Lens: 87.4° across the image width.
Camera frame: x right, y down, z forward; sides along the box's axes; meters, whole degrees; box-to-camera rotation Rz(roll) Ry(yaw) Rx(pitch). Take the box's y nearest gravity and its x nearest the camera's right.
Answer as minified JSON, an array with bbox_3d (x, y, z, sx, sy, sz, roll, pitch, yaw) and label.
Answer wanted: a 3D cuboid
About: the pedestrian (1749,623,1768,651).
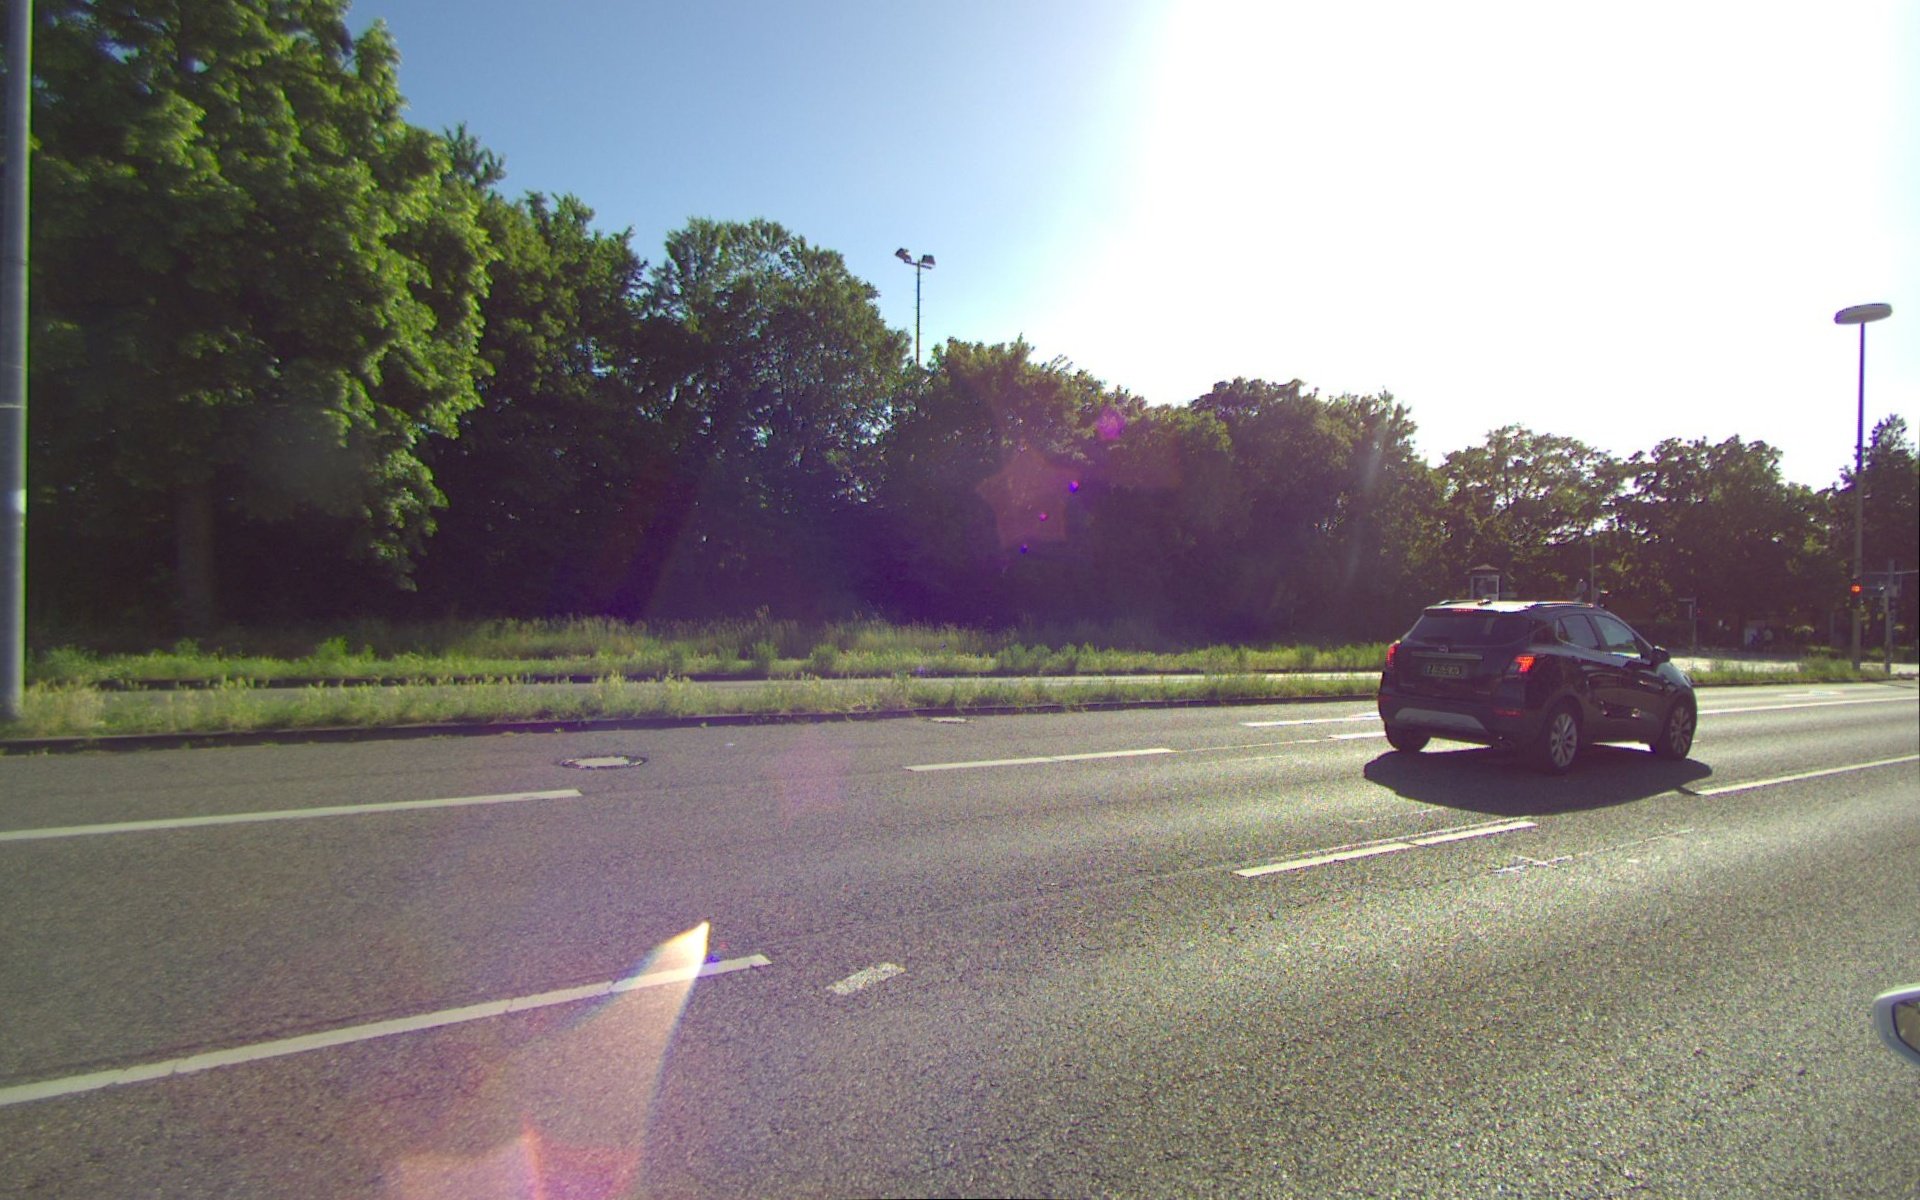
[{"bbox_3d":[53.263,2.459,66.974,0.543,1.860,0.842,2,-1,-28],"label":"pedestrian"}]

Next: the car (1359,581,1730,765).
[{"bbox_3d":[6.495,0.750,11.014,4.370,1.653,1.686,3,0,-33],"label":"car"}]
